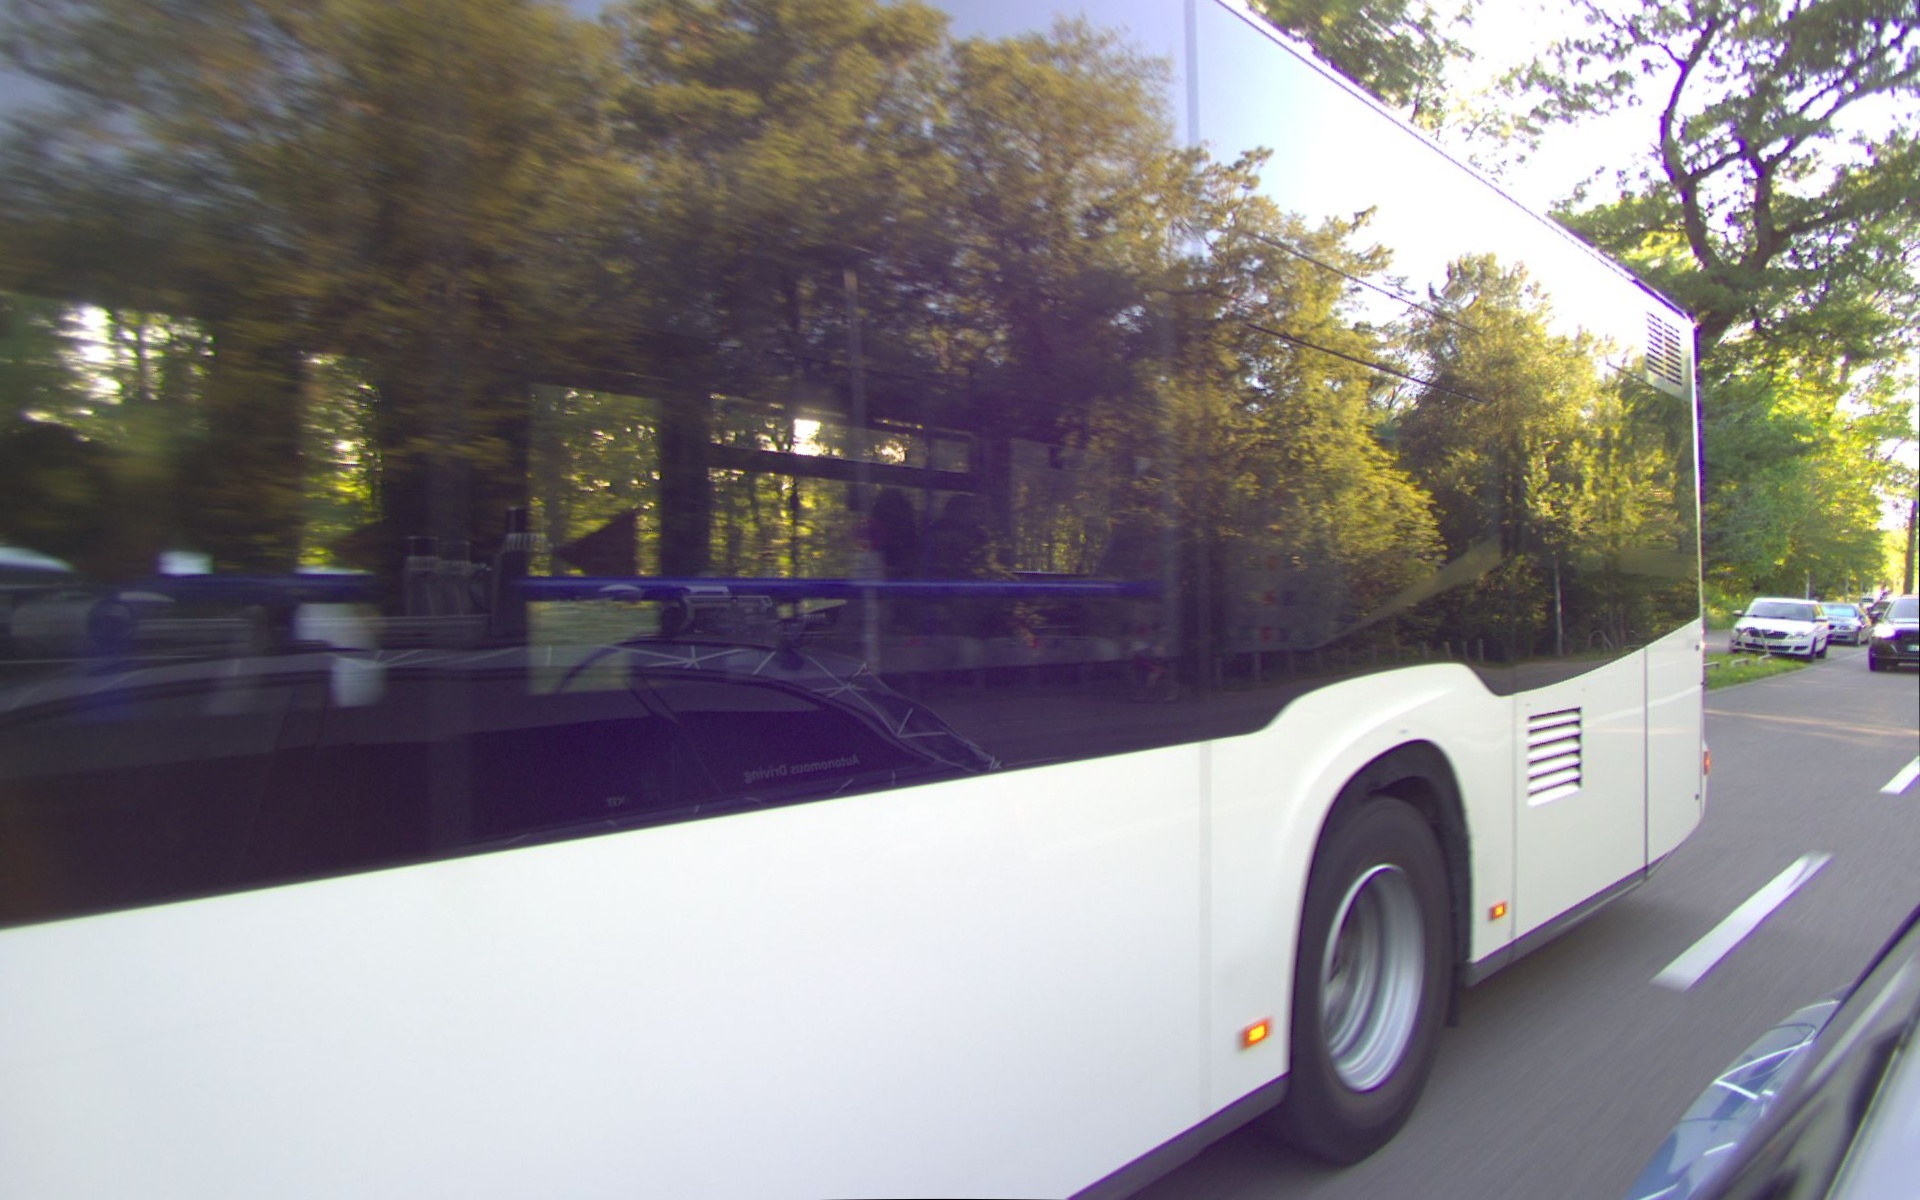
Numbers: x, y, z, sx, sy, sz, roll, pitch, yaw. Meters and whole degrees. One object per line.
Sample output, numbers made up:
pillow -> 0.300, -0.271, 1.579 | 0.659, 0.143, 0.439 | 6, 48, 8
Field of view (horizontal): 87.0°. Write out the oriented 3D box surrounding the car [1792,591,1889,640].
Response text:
car -> 29.439, 0.493, 33.788 | 4.444, 1.408, 1.856 | 0, 4, -42

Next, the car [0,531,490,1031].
car -> -4.193, 0.557, 3.432 | 4.383, 1.594, 1.841 | 0, 1, -42

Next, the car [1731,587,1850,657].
car -> 20.961, 0.500, 25.487 | 4.100, 1.529, 1.730 | 0, 4, -43

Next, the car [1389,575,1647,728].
car -> 7.139, 0.514, 12.752 | 1.993, 1.577, 4.036 | 2, 1, 42

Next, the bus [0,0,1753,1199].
bus -> -1.644, -0.084, 1.868 | 12.064, 3.263, 2.709 | 0, 0, -41

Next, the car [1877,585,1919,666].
car -> 21.096, 0.520, 21.682 | 3.933, 1.638, 1.858 | 0, 0, -43

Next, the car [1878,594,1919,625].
car -> 45.908, 0.452, 49.170 | 1.736, 1.409, 3.882 | 2, 2, 45
